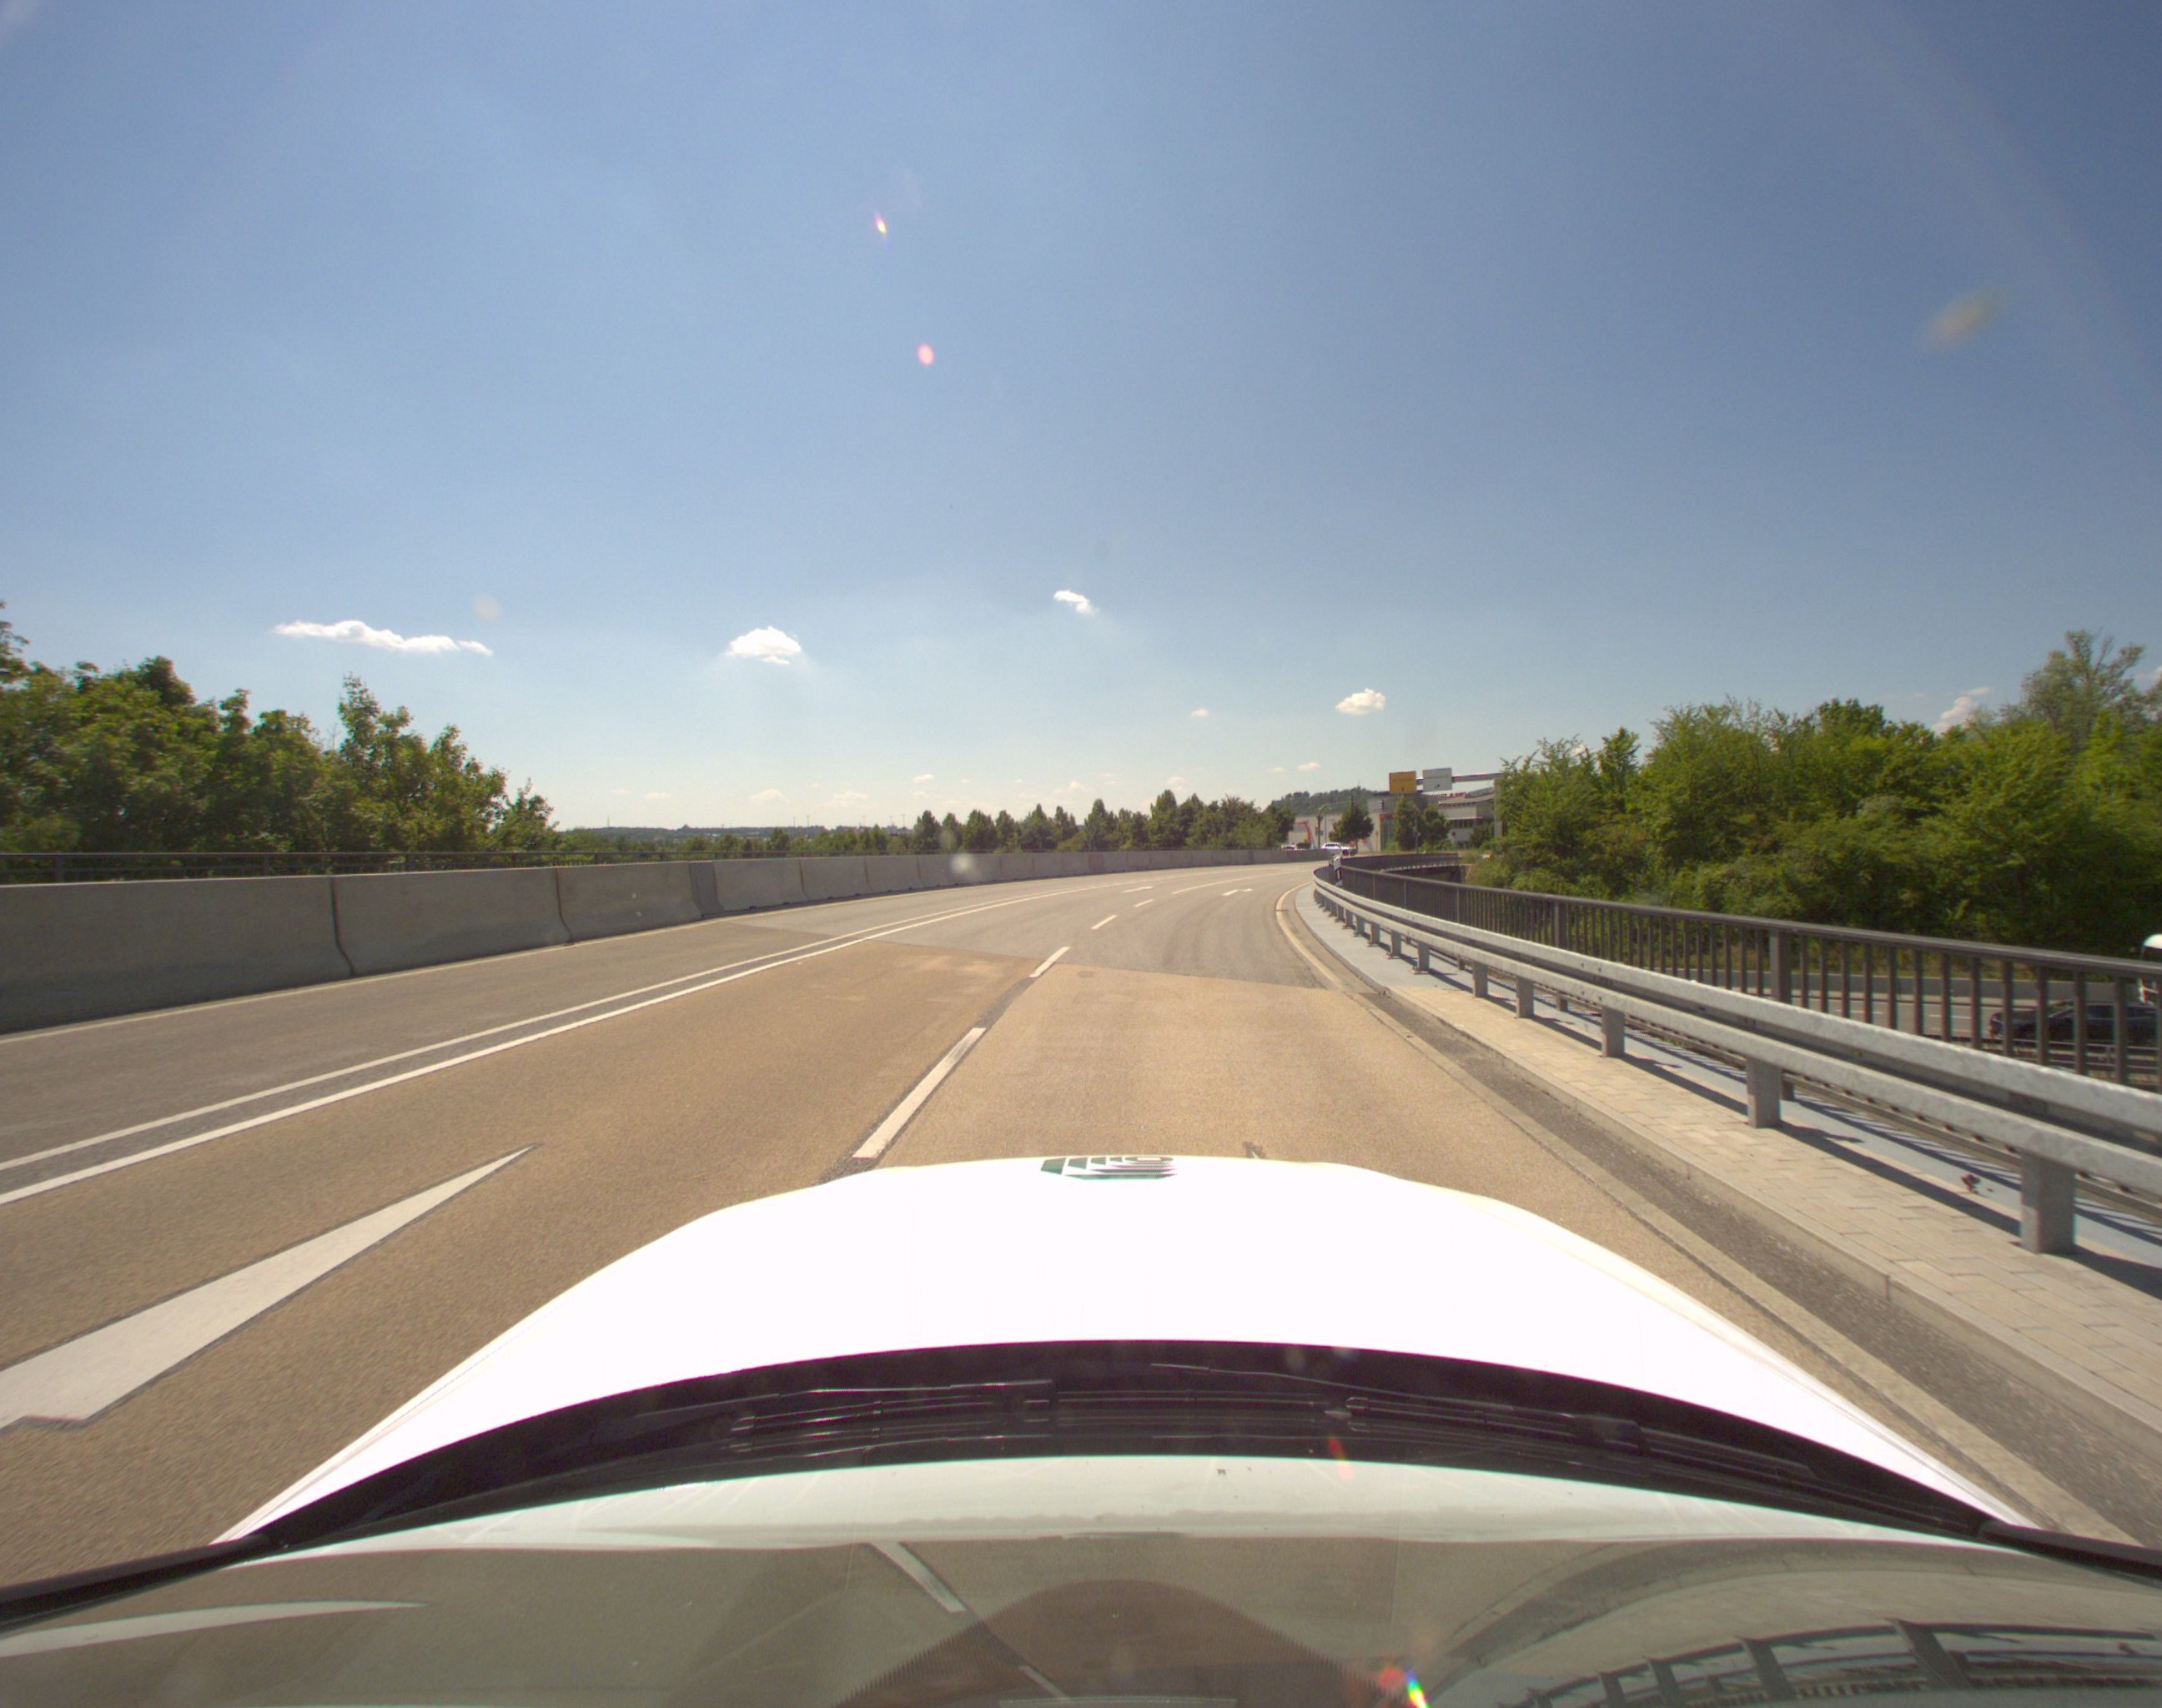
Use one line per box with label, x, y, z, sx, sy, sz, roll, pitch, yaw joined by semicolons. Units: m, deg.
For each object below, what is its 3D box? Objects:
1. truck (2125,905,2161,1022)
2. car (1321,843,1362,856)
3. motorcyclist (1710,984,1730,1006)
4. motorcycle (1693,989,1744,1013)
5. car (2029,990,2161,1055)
truck;46.860;4.224;29.359;10.870;4.347;2.918;-1;-1;36
car;31.706;-0.535;99.225;2.010;1.505;4.345;0;-1;-39
motorcyclist;27.531;6.076;35.094;0.664;0.854;0.398;-1;-1;37
motorcycle;27.472;6.330;35.127;1.730;0.788;0.406;-1;-1;37
car;35.633;5.838;28.329;3.196;1.677;1.727;-1;-1;39
